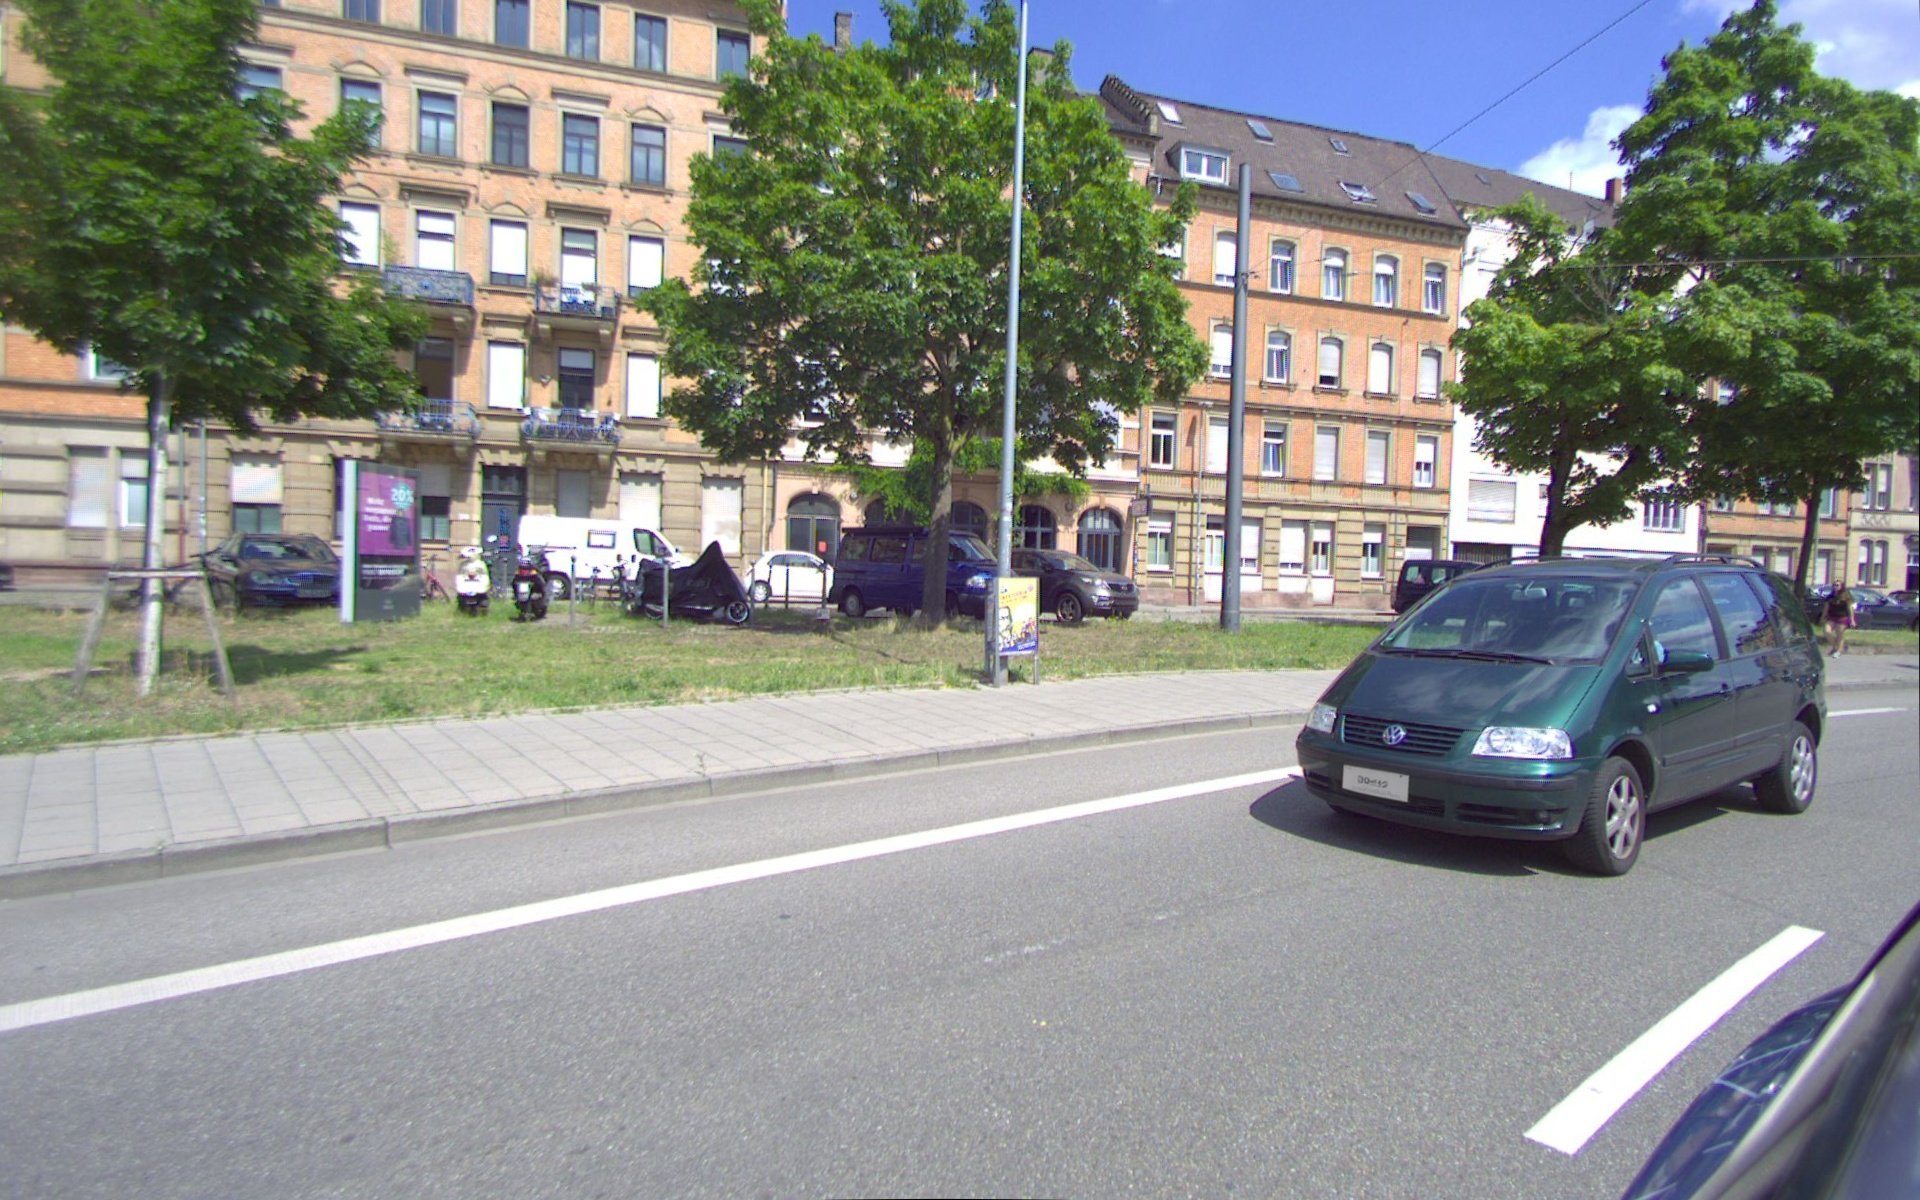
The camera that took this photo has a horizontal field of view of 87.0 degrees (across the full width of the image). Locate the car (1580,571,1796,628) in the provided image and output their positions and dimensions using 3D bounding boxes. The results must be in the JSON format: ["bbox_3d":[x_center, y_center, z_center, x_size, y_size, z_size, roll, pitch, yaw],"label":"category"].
[{"bbox_3d":[19.844,-0.062,27.705,4.673,1.397,1.825,2,1,41],"label":"car"}]

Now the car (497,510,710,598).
[{"bbox_3d":[-9.617,-1.203,27.704,5.280,2.206,2.122,1,1,-15],"label":"car"}]

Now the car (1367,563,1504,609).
[{"bbox_3d":[16.743,-0.496,35.654,4.138,1.510,1.842,1,1,-15],"label":"car"}]

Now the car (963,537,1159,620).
[{"bbox_3d":[2.159,-0.483,22.514,1.884,1.677,4.167,0,1,-42],"label":"car"}]

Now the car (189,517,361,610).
[{"bbox_3d":[-12.194,-0.662,17.912,1.776,1.445,4.249,0,3,-45],"label":"car"}]

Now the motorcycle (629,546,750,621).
[{"bbox_3d":[-4.515,-0.282,16.972,1.869,1.181,0.640,1,1,-3],"label":"motorcycle"}]

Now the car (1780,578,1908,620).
[{"bbox_3d":[36.680,-0.050,42.013,4.401,1.635,1.842,1,1,-15],"label":"car"}]

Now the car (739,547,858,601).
[{"bbox_3d":[-4.695,-0.753,29.286,3.280,1.420,1.572,1,2,-13],"label":"car"}]

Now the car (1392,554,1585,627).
[{"bbox_3d":[13.799,-0.289,26.557,4.137,1.763,1.823,2,1,44],"label":"car"}]

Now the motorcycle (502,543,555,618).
[{"bbox_3d":[-7.212,-0.346,16.974,0.626,1.181,1.793,1,2,-17],"label":"motorcycle"}]

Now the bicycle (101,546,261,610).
[{"bbox_3d":[-11.491,-0.319,14.986,1.783,0.912,0.545,1,1,-20],"label":"bicycle"}]

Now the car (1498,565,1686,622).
[{"bbox_3d":[16.832,-0.215,27.040,4.066,1.423,1.826,2,1,40],"label":"car"}]

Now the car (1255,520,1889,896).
[{"bbox_3d":[4.392,0.482,6.939,4.935,1.778,1.825,0,1,-34],"label":"car"}]

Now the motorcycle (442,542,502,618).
[{"bbox_3d":[-8.040,-0.351,16.729,0.626,1.181,1.793,1,2,-17],"label":"motorcycle"}]

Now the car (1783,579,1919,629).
[{"bbox_3d":[27.127,0.113,29.944,4.247,1.397,1.827,2,1,39],"label":"car"}]

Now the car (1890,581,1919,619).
[{"bbox_3d":[42.885,0.027,43.660,4.401,1.635,1.842,1,1,-13],"label":"car"}]

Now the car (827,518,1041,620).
[{"bbox_3d":[-0.650,-0.646,21.618,4.615,1.951,1.886,2,1,44],"label":"car"}]

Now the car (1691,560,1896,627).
[{"bbox_3d":[23.511,-0.233,28.756,4.344,1.763,1.827,2,1,39],"label":"car"}]

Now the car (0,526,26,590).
[{"bbox_3d":[-24.369,-1.011,23.364,3.772,1.510,1.668,1,1,-15],"label":"car"}]

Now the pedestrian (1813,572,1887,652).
[{"bbox_3d":[18.737,0.254,21.315,0.886,1.610,0.705,1,4,-17],"label":"pedestrian"}]
